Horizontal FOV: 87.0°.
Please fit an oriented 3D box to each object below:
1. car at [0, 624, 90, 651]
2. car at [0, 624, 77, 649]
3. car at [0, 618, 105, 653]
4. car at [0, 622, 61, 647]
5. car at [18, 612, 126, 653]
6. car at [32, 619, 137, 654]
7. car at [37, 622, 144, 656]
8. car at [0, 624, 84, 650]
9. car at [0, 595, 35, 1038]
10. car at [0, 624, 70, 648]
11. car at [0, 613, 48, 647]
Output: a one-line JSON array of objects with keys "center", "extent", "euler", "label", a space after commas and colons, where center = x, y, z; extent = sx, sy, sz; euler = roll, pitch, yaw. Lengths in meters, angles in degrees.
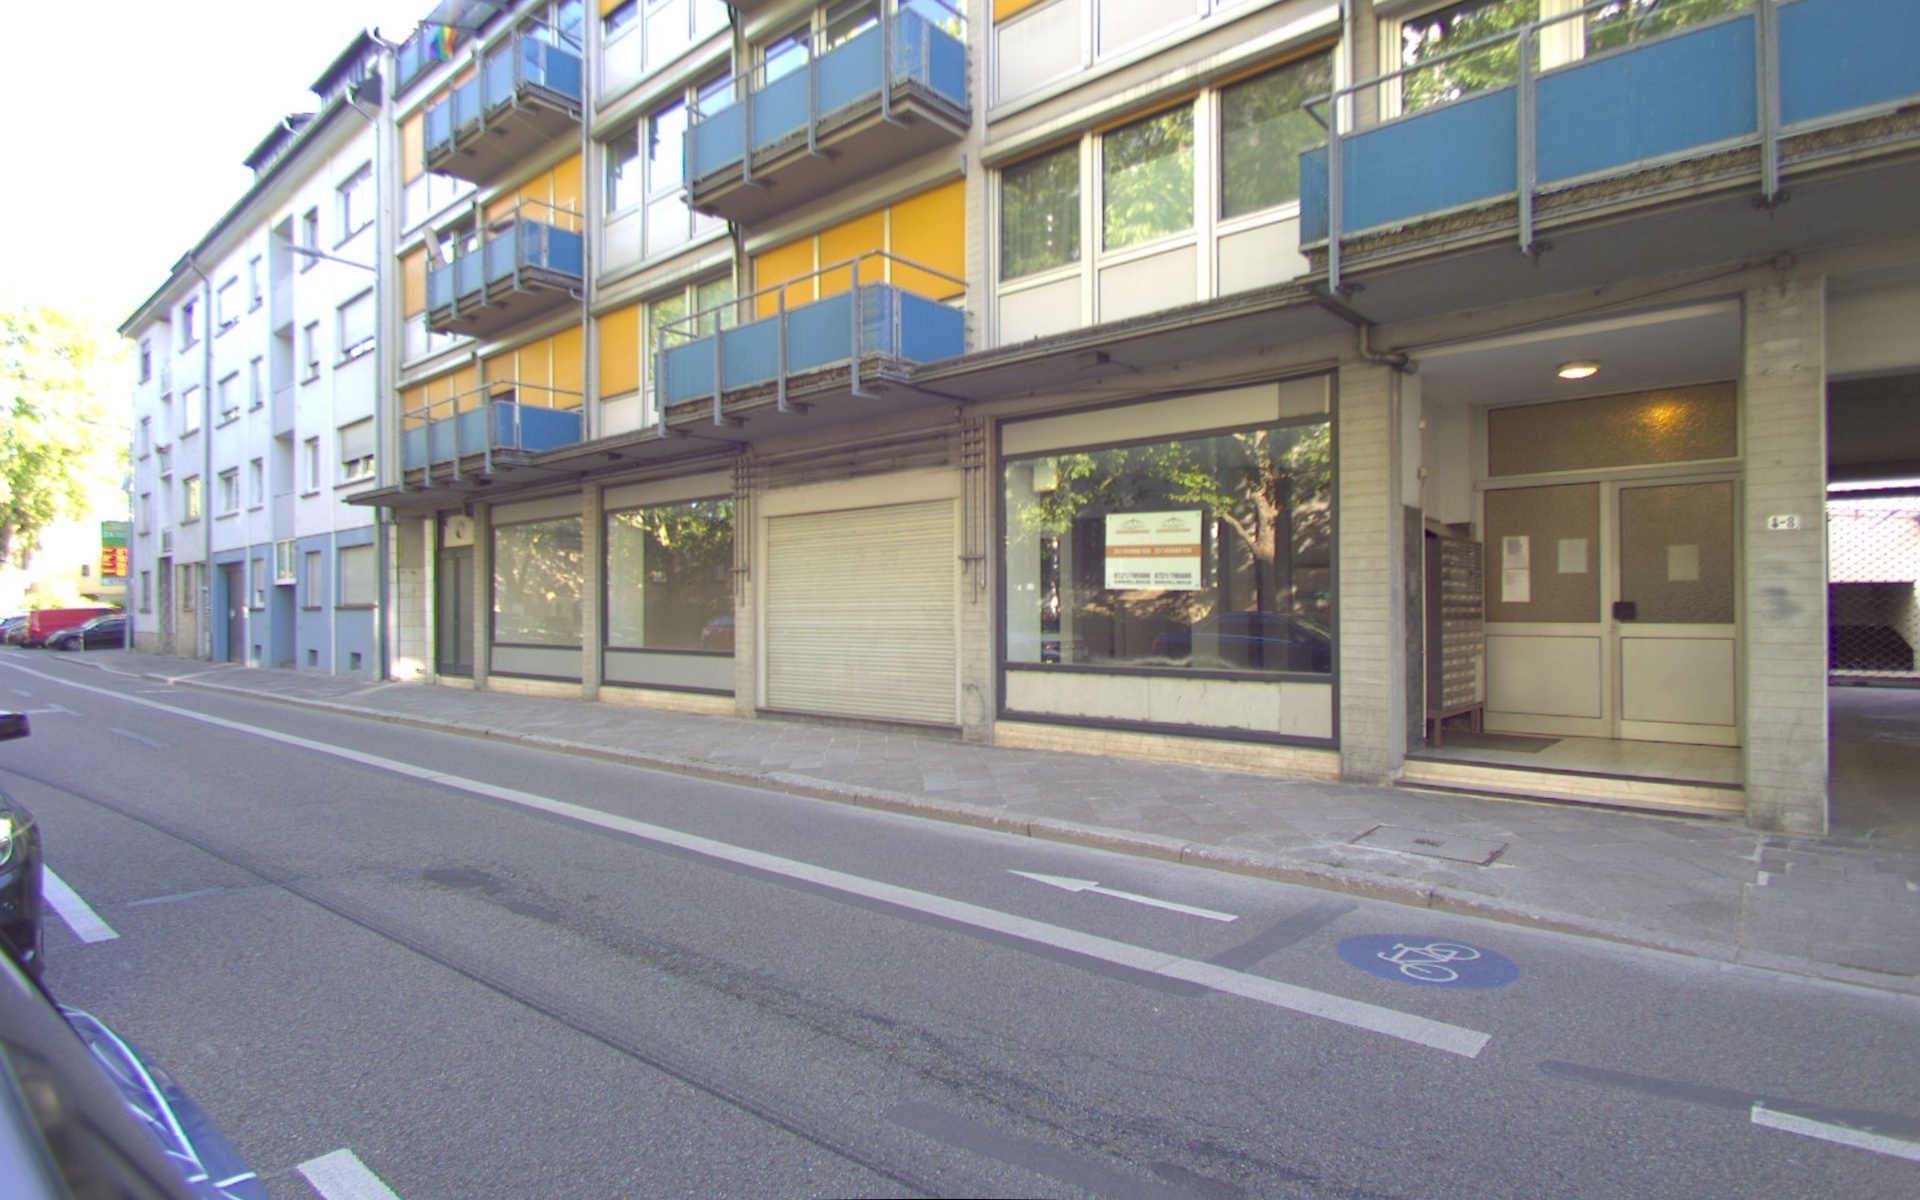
[{"center": [-51.861, 2.098, 57.235], "extent": [1.594, 1.385, 3.854], "euler": [-1, 0, 42], "label": "car"}, {"center": [-55.391, 2.178, 60.454], "extent": [1.525, 1.343, 3.854], "euler": [-1, 0, 42], "label": "car"}, {"center": [-46.065, 1.782, 51.418], "extent": [1.603, 1.598, 3.854], "euler": [-1, 0, 42], "label": "car"}, {"center": [-59.227, 2.190, 63.773], "extent": [1.539, 1.451, 3.733], "euler": [-1, 0, 42], "label": "car"}, {"center": [-43.718, 1.567, 49.879], "extent": [1.749, 1.921, 3.854], "euler": [-1, -1, 42], "label": "car"}, {"center": [-41.525, 1.702, 48.062], "extent": [1.602, 1.521, 3.620], "euler": [-1, 0, 42], "label": "car"}, {"center": [-39.807, 1.748, 46.366], "extent": [1.534, 1.420, 3.551], "euler": [-2, -1, 42], "label": "car"}, {"center": [-53.375, 2.117, 58.575], "extent": [1.594, 1.385, 3.854], "euler": [-1, 0, 42], "label": "car"}, {"center": [-5.444, 0.768, 4.222], "extent": [4.291, 1.515, 1.805], "euler": [-1, 0, 40], "label": "car"}, {"center": [-57.197, 2.202, 62.015], "extent": [1.525, 1.343, 3.854], "euler": [-1, 0, 42], "label": "car"}, {"center": [-62.726, 1.969, 66.603], "extent": [1.725, 2.193, 3.854], "euler": [-1, 0, 42], "label": "car"}]
